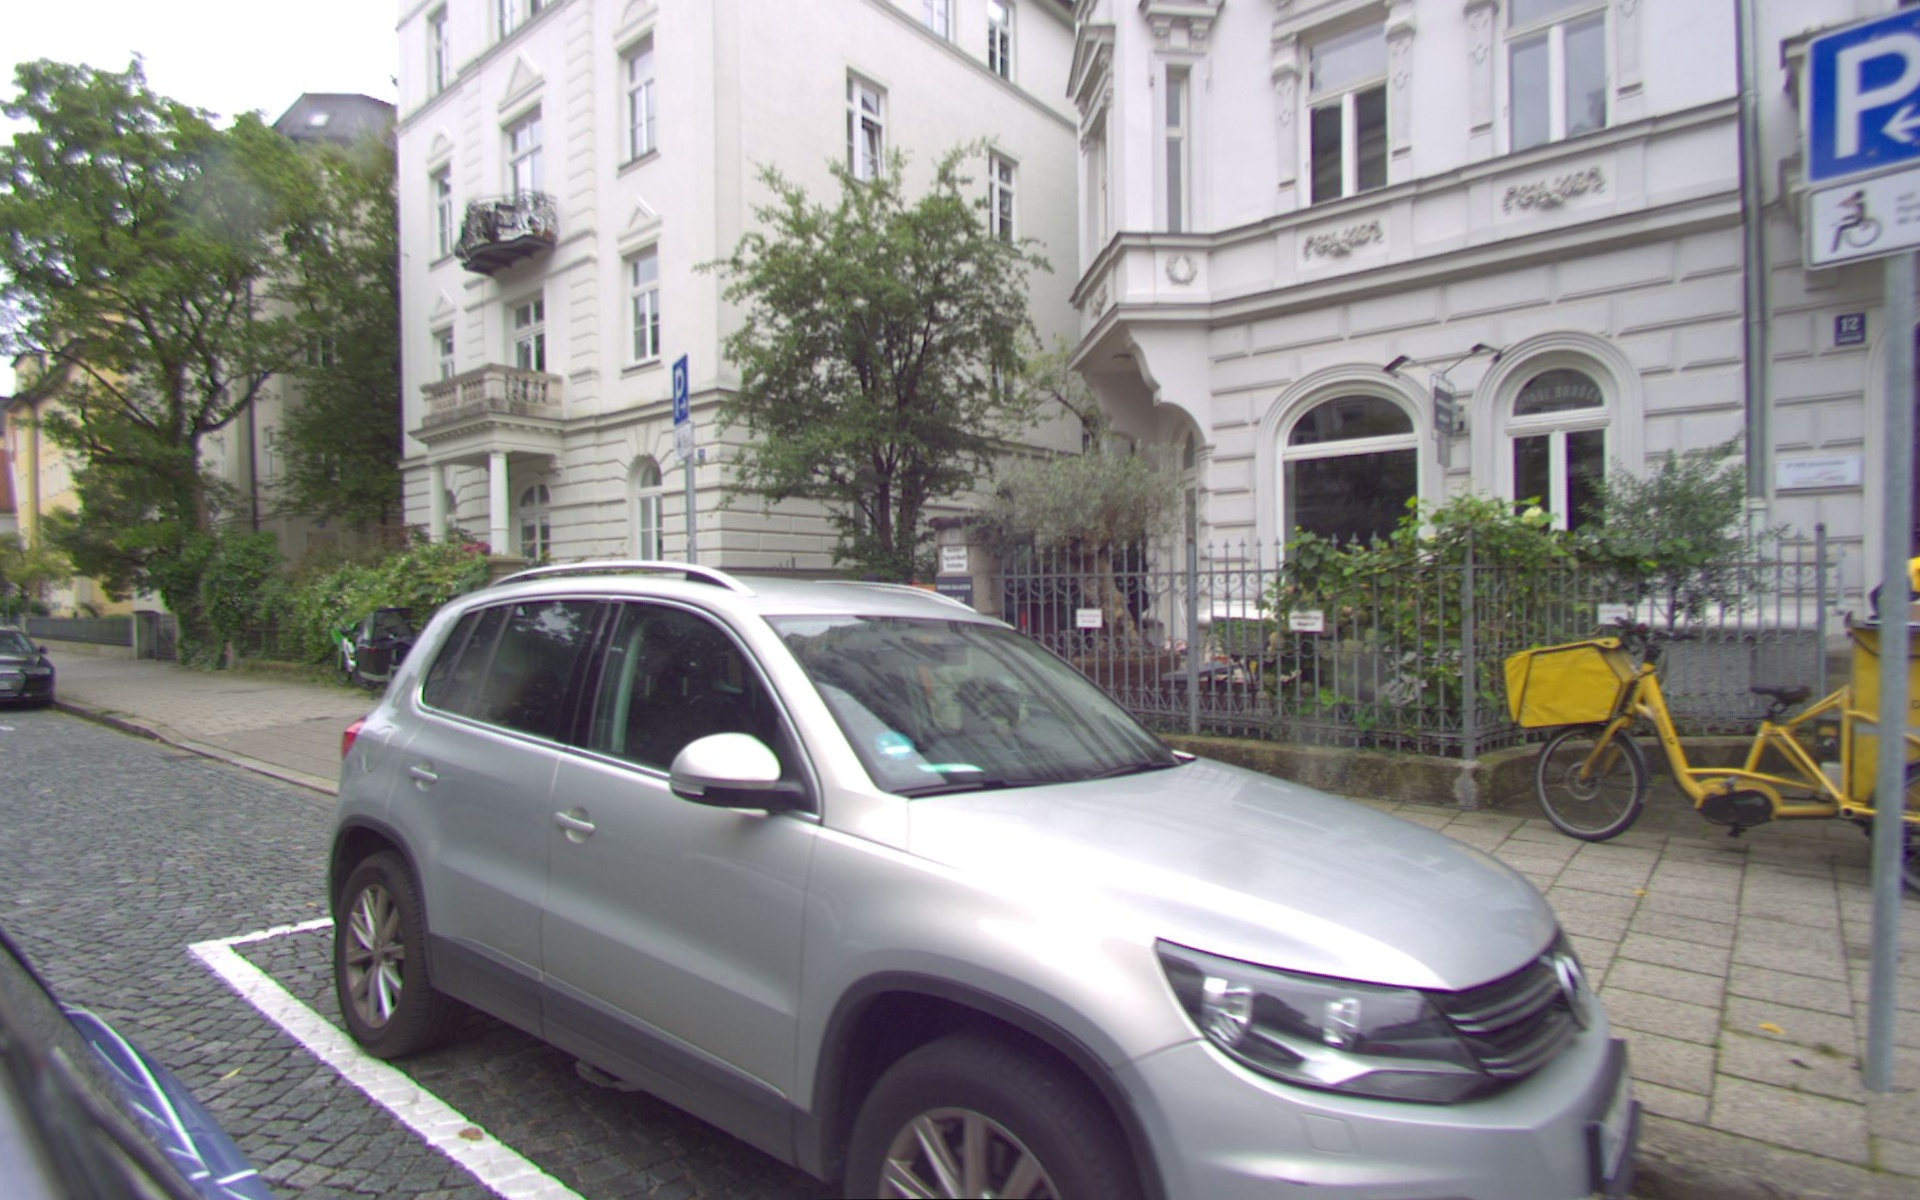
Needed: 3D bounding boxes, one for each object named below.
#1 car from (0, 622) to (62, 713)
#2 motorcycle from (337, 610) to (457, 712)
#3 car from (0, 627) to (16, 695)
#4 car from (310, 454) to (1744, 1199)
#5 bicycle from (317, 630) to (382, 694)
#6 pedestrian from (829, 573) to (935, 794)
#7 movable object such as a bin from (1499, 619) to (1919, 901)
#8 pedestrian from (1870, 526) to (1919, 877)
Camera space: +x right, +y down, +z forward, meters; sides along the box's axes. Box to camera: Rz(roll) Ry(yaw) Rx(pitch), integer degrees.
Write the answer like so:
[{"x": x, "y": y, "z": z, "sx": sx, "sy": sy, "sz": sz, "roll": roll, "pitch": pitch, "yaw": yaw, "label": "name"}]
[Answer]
[{"x": -17.314, "y": 1.110, "z": 17.562, "sx": 4.804, "sy": 1.430, "sz": 1.862, "roll": -1, "pitch": -2, "yaw": 40, "label": "car"}, {"x": -8.655, "y": 0.891, "z": 15.519, "sx": 2.242, "sy": 1.439, "sz": 0.729, "roll": -1, "pitch": 2, "yaw": 38, "label": "motorcycle"}, {"x": -20.939, "y": 1.256, "z": 20.688, "sx": 3.998, "sy": 1.342, "sz": 1.973, "roll": -1, "pitch": 0, "yaw": 41, "label": "car"}, {"x": -0.227, "y": 0.633, "z": 3.036, "sx": 4.063, "sy": 1.584, "sz": 1.673, "roll": -1, "pitch": 1, "yaw": 39, "label": "car"}, {"x": -10.756, "y": 1.068, "z": 17.813, "sx": 1.742, "sy": 1.058, "sz": 0.353, "roll": -1, "pitch": 1, "yaw": 38, "label": "bicycle"}, {"x": -0.621, "y": 0.618, "z": 7.942, "sx": 0.655, "sy": 1.640, "sz": 0.671, "roll": -1, "pitch": 0, "yaw": -18, "label": "pedestrian"}, {"x": 4.095, "y": 0.697, "z": 4.791, "sx": 0.635, "sy": 1.174, "sz": 2.655, "roll": -2, "pitch": 1, "yaw": -43, "label": "movable object such as a bin"}, {"x": 4.905, "y": 0.473, "z": 4.790, "sx": 0.569, "sy": 1.659, "sz": 0.822, "roll": 0, "pitch": -1, "yaw": -43, "label": "pedestrian"}]
